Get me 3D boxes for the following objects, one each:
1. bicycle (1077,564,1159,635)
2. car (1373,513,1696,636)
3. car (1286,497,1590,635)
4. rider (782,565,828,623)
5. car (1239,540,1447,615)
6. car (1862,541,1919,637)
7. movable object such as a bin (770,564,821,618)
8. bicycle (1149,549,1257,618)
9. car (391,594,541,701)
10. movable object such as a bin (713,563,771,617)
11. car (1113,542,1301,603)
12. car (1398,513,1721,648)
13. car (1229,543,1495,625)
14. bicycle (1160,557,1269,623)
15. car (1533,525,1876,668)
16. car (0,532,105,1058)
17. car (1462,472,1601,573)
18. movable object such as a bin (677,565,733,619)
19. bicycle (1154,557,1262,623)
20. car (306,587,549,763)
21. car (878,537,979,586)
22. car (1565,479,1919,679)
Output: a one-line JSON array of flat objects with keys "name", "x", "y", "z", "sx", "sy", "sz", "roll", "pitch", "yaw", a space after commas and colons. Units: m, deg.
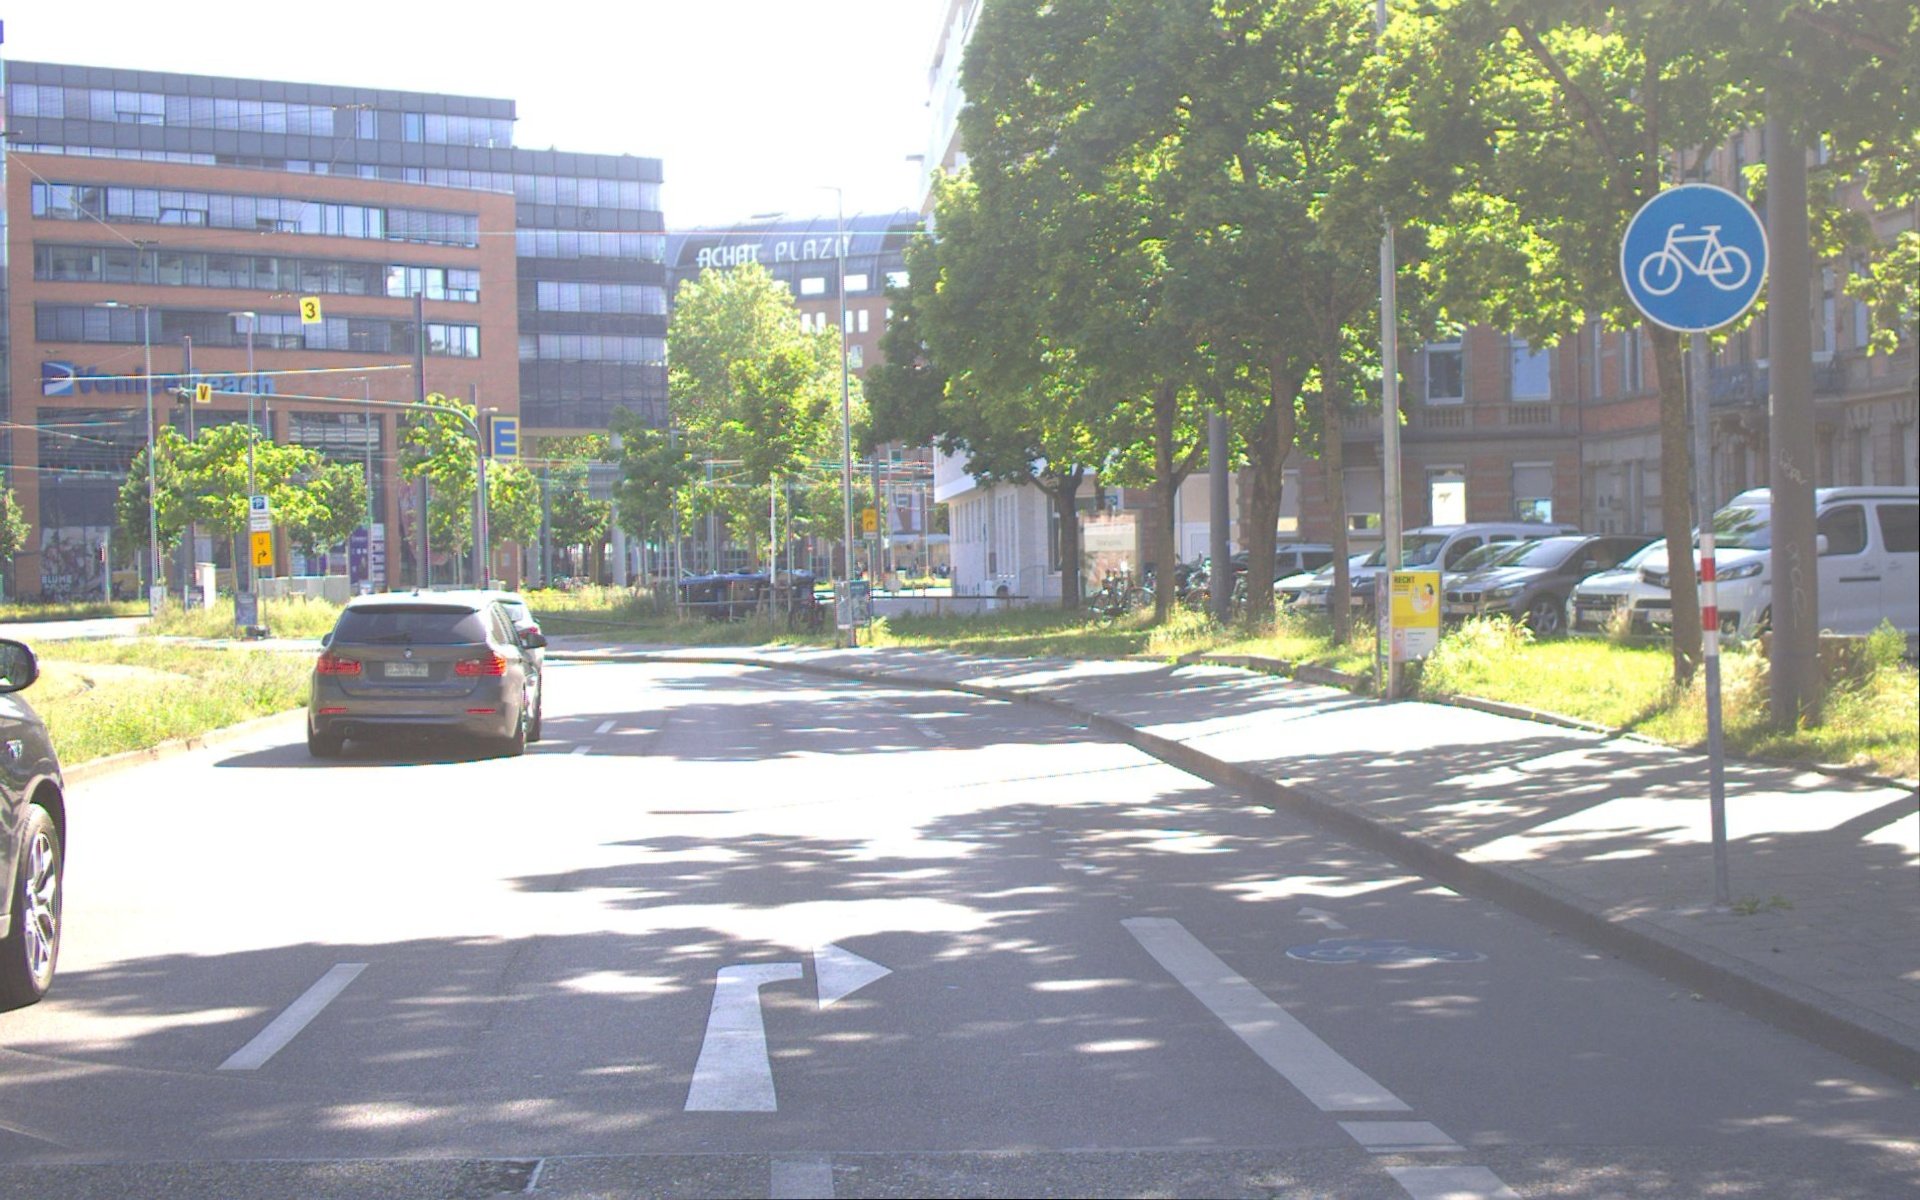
[{"name": "bicycle", "x": 3.056, "y": -0.009, "z": 66.478, "sx": 0.769, "sy": 1.285, "sz": 1.594, "roll": -2, "pitch": 1, "yaw": 36}, {"name": "car", "x": 9.206, "y": -0.414, "z": 54.961, "sx": 4.865, "sy": 1.642, "sz": 2.100, "roll": -4, "pitch": 1, "yaw": -33}, {"name": "car", "x": 8.017, "y": -0.581, "z": 57.434, "sx": 4.866, "sy": 2.006, "sz": 2.100, "roll": -4, "pitch": 1, "yaw": -37}, {"name": "rider", "x": -3.279, "y": -0.133, "z": 72.937, "sx": 0.502, "sy": 1.172, "sz": 1.675, "roll": -1, "pitch": 2, "yaw": 14}, {"name": "car", "x": 8.650, "y": -0.518, "z": 77.544, "sx": 4.456, "sy": 1.560, "sz": 1.938, "roll": -2, "pitch": 1, "yaw": -35}, {"name": "car", "x": 16.767, "y": -0.213, "z": 56.779, "sx": 1.993, "sy": 1.523, "sz": 4.514, "roll": -3, "pitch": 2, "yaw": -7}, {"name": "movable object such as a bin", "x": -4.393, "y": -0.253, "z": 91.936, "sx": 1.029, "sy": 1.393, "sz": 1.090, "roll": -1, "pitch": 1, "yaw": 17}, {"name": "bicycle", "x": 5.096, "y": -0.355, "z": 72.083, "sx": 2.092, "sy": 1.393, "sz": 0.787, "roll": -1, "pitch": 0, "yaw": -14}, {"name": "car", "x": -6.965, "y": 0.677, "z": 48.249, "sx": 1.631, "sy": 1.418, "sz": 3.783, "roll": 1, "pitch": -1, "yaw": -15}, {"name": "movable object such as a bin", "x": -5.819, "y": -0.264, "z": 91.851, "sx": 1.108, "sy": 1.393, "sz": 1.320, "roll": -1, "pitch": 1, "yaw": 17}, {"name": "car", "x": 5.858, "y": -0.656, "z": 81.475, "sx": 4.043, "sy": 1.332, "sz": 1.840, "roll": -2, "pitch": 1, "yaw": -27}, {"name": "car", "x": 8.964, "y": -0.297, "z": 51.338, "sx": 4.499, "sy": 1.721, "sz": 2.000, "roll": -4, "pitch": 1, "yaw": -33}, {"name": "car", "x": 7.432, "y": -0.313, "z": 63.383, "sx": 4.738, "sy": 1.375, "sz": 2.045, "roll": -2, "pitch": 1, "yaw": -37}, {"name": "bicycle", "x": 4.919, "y": -0.200, "z": 66.481, "sx": 1.944, "sy": 1.176, "sz": 0.900, "roll": -3, "pitch": 0, "yaw": -4}, {"name": "car", "x": 9.050, "y": -0.050, "z": 41.678, "sx": 4.018, "sy": 1.473, "sz": 1.812, "roll": -4, "pitch": 1, "yaw": -37}, {"name": "car", "x": -3.948, "y": 0.631, "z": 10.282, "sx": 1.836, "sy": 1.676, "sz": 4.643, "roll": -1, "pitch": 0, "yaw": -3}, {"name": "car", "x": 14.458, "y": -1.973, "z": 87.283, "sx": 2.349, "sy": 2.349, "sz": 5.188, "roll": -3, "pitch": 1, "yaw": -3}, {"name": "movable object such as a bin", "x": -6.830, "y": -0.221, "z": 92.215, "sx": 1.069, "sy": 1.393, "sz": 1.303, "roll": -1, "pitch": 1, "yaw": 17}, {"name": "bicycle", "x": 4.852, "y": -0.206, "z": 67.403, "sx": 1.957, "sy": 1.188, "sz": 0.842, "roll": -3, "pitch": 1, "yaw": -4}, {"name": "car", "x": -4.628, "y": 0.661, "z": 30.393, "sx": 1.734, "sy": 1.418, "sz": 4.468, "roll": 1, "pitch": -1, "yaw": -4}, {"name": "car", "x": -1.357, "y": -1.679, "z": 148.541, "sx": 3.989, "sy": 2.007, "sz": 1.999, "roll": -1, "pitch": 0, "yaw": 12}, {"name": "car", "x": 9.582, "y": -0.289, "z": 39.079, "sx": 5.171, "sy": 2.006, "sz": 2.100, "roll": -4, "pitch": 1, "yaw": -33}]
